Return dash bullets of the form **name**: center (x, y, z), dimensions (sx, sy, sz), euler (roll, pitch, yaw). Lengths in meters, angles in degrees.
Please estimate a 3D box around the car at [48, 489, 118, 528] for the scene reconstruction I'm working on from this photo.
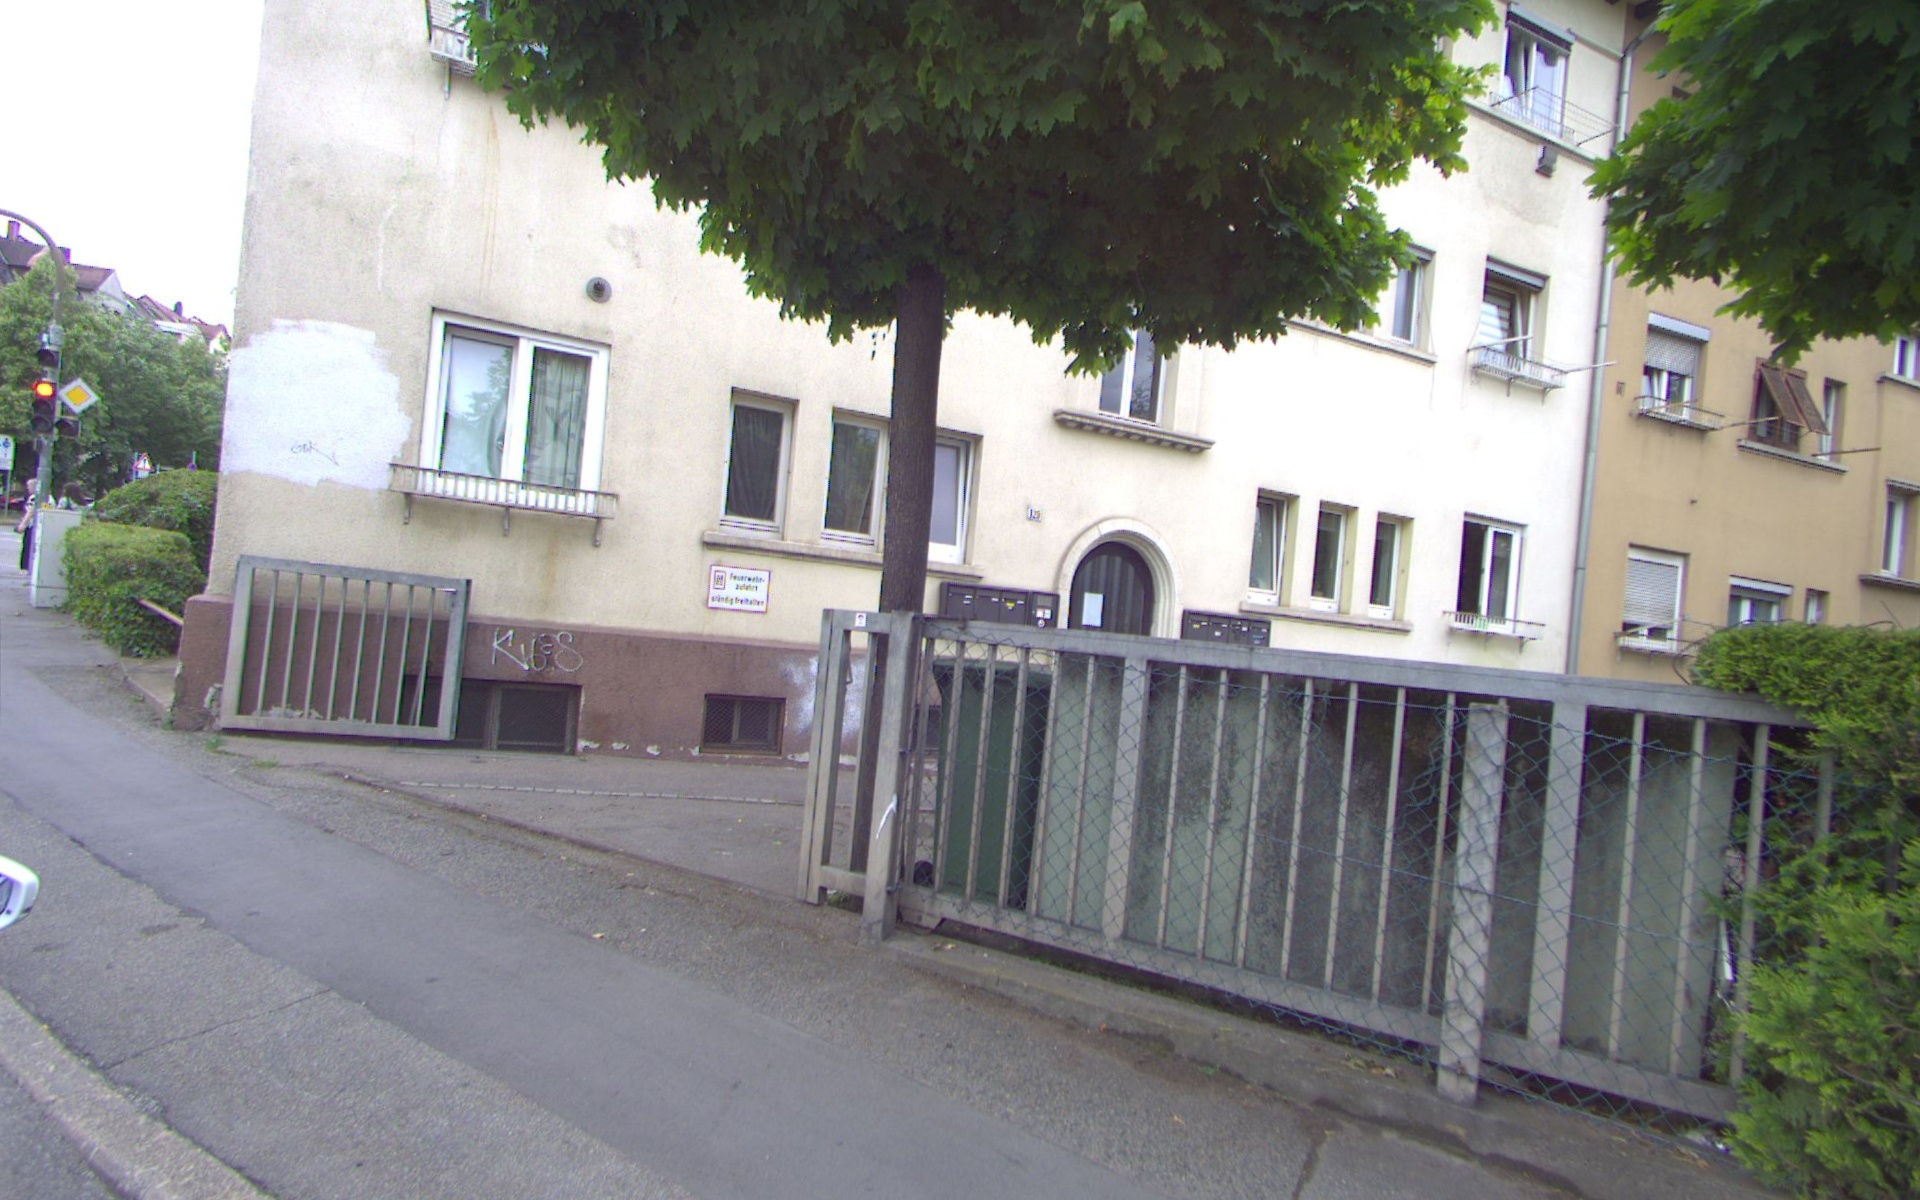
- **car**: center (-62.451, -6.484, 71.735), dimensions (1.970, 2.036, 3.991), euler (8, -3, -15)

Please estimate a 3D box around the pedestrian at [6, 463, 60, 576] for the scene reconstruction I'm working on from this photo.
- **pedestrian**: center (-15.863, -1.365, 17.210), dimensions (0.462, 1.857, 0.320), euler (9, -2, -44)

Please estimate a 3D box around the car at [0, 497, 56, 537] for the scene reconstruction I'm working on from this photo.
- **car**: center (-60.935, -5.425, 64.925), dimensions (1.970, 2.036, 3.991), euler (8, -3, -15)
